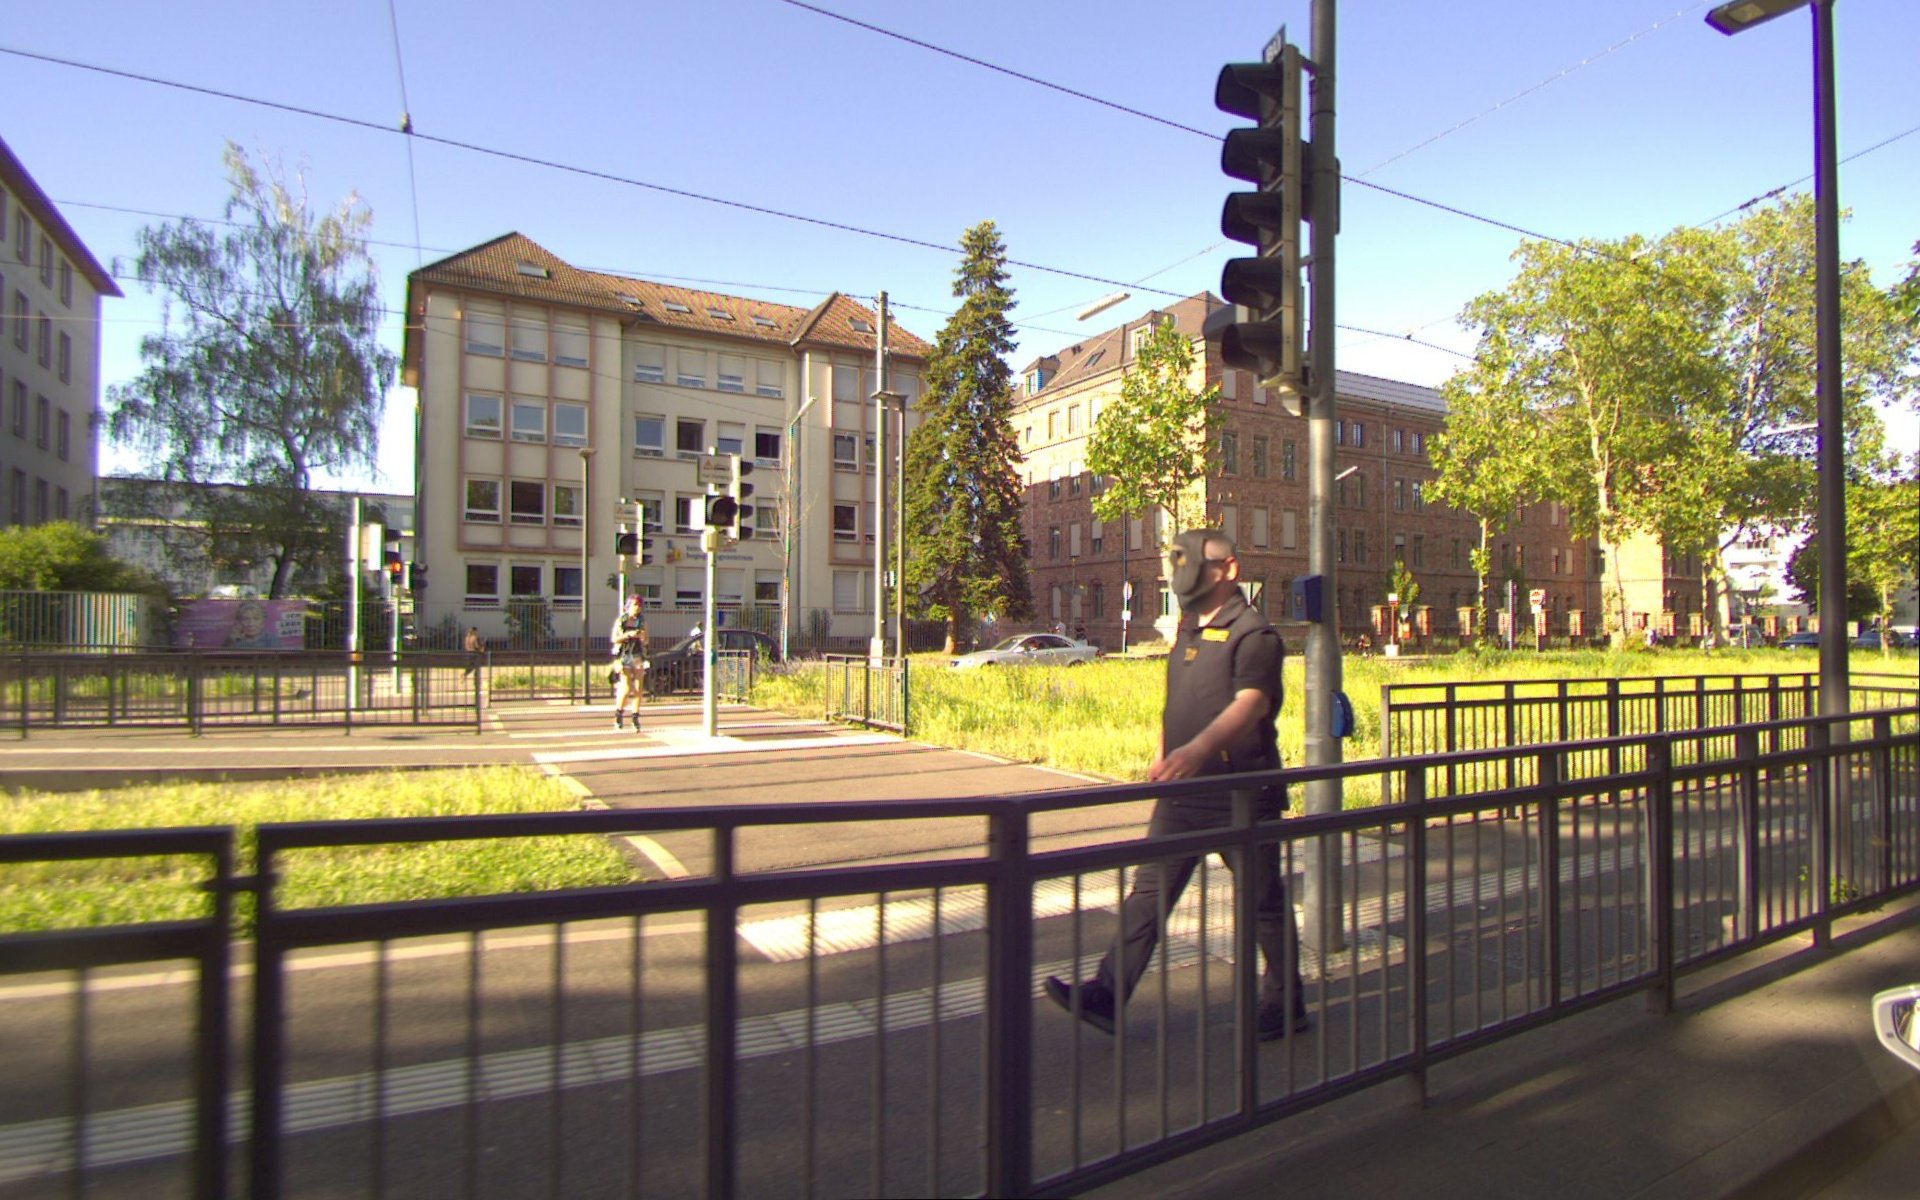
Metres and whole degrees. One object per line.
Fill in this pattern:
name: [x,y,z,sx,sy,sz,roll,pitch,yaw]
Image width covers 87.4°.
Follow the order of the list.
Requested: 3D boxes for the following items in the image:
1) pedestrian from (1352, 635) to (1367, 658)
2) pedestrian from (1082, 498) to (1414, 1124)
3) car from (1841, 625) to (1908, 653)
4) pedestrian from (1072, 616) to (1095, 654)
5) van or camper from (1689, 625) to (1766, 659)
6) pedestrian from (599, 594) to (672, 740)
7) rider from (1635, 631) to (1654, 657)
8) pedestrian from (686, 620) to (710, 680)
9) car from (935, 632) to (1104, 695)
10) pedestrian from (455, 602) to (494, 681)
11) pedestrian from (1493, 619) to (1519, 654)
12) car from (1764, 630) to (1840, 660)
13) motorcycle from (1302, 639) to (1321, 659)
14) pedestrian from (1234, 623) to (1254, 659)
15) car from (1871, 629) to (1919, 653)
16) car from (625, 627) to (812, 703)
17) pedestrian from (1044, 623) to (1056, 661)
pedestrian: [20.408,2.373,51.306,0.582,1.114,0.441,1,-2,-35]
pedestrian: [0.915,0.584,3.244,0.764,1.702,0.708,1,-1,-32]
car: [59.948,2.527,65.837,4.362,1.742,1.762,1,-2,-26]
pedestrian: [5.550,1.576,45.179,0.672,1.718,0.821,-1,-1,41]
van or camper: [42.222,2.287,55.245,4.384,1.811,1.983,1,-3,-33]
pedestrian: [-4.121,0.823,12.727,0.721,1.759,0.949,1,-1,-28]
rider: [43.714,2.786,64.160,0.678,1.666,0.725,1,-2,-30]
pedestrian: [-8.273,1.580,31.748,0.566,1.861,0.689,1,-1,-31]
car: [1.663,1.705,27.965,4.413,1.644,1.761,1,-2,-25]
pedestrian: [-12.885,1.098,26.651,0.850,2.040,0.659,1,-1,-31]
pedestrian: [30.562,2.022,56.239,0.930,1.924,0.897,1,-1,-29]
car: [50.818,2.696,60.589,4.769,1.671,1.984,0,-1,-30]
motorcycle: [17.213,2.375,49.118,1.034,0.959,0.332,1,-2,-34]
pedestrian: [13.397,1.924,47.411,0.670,1.718,0.882,-1,-1,32]
car: [64.578,2.788,68.673,4.362,1.636,1.987,1,-2,-26]
car: [-5.896,1.524,24.541,4.095,1.729,1.987,1,-2,-27]
pedestrian: [4.155,1.941,46.452,0.443,1.718,0.374,1,-1,-24]
